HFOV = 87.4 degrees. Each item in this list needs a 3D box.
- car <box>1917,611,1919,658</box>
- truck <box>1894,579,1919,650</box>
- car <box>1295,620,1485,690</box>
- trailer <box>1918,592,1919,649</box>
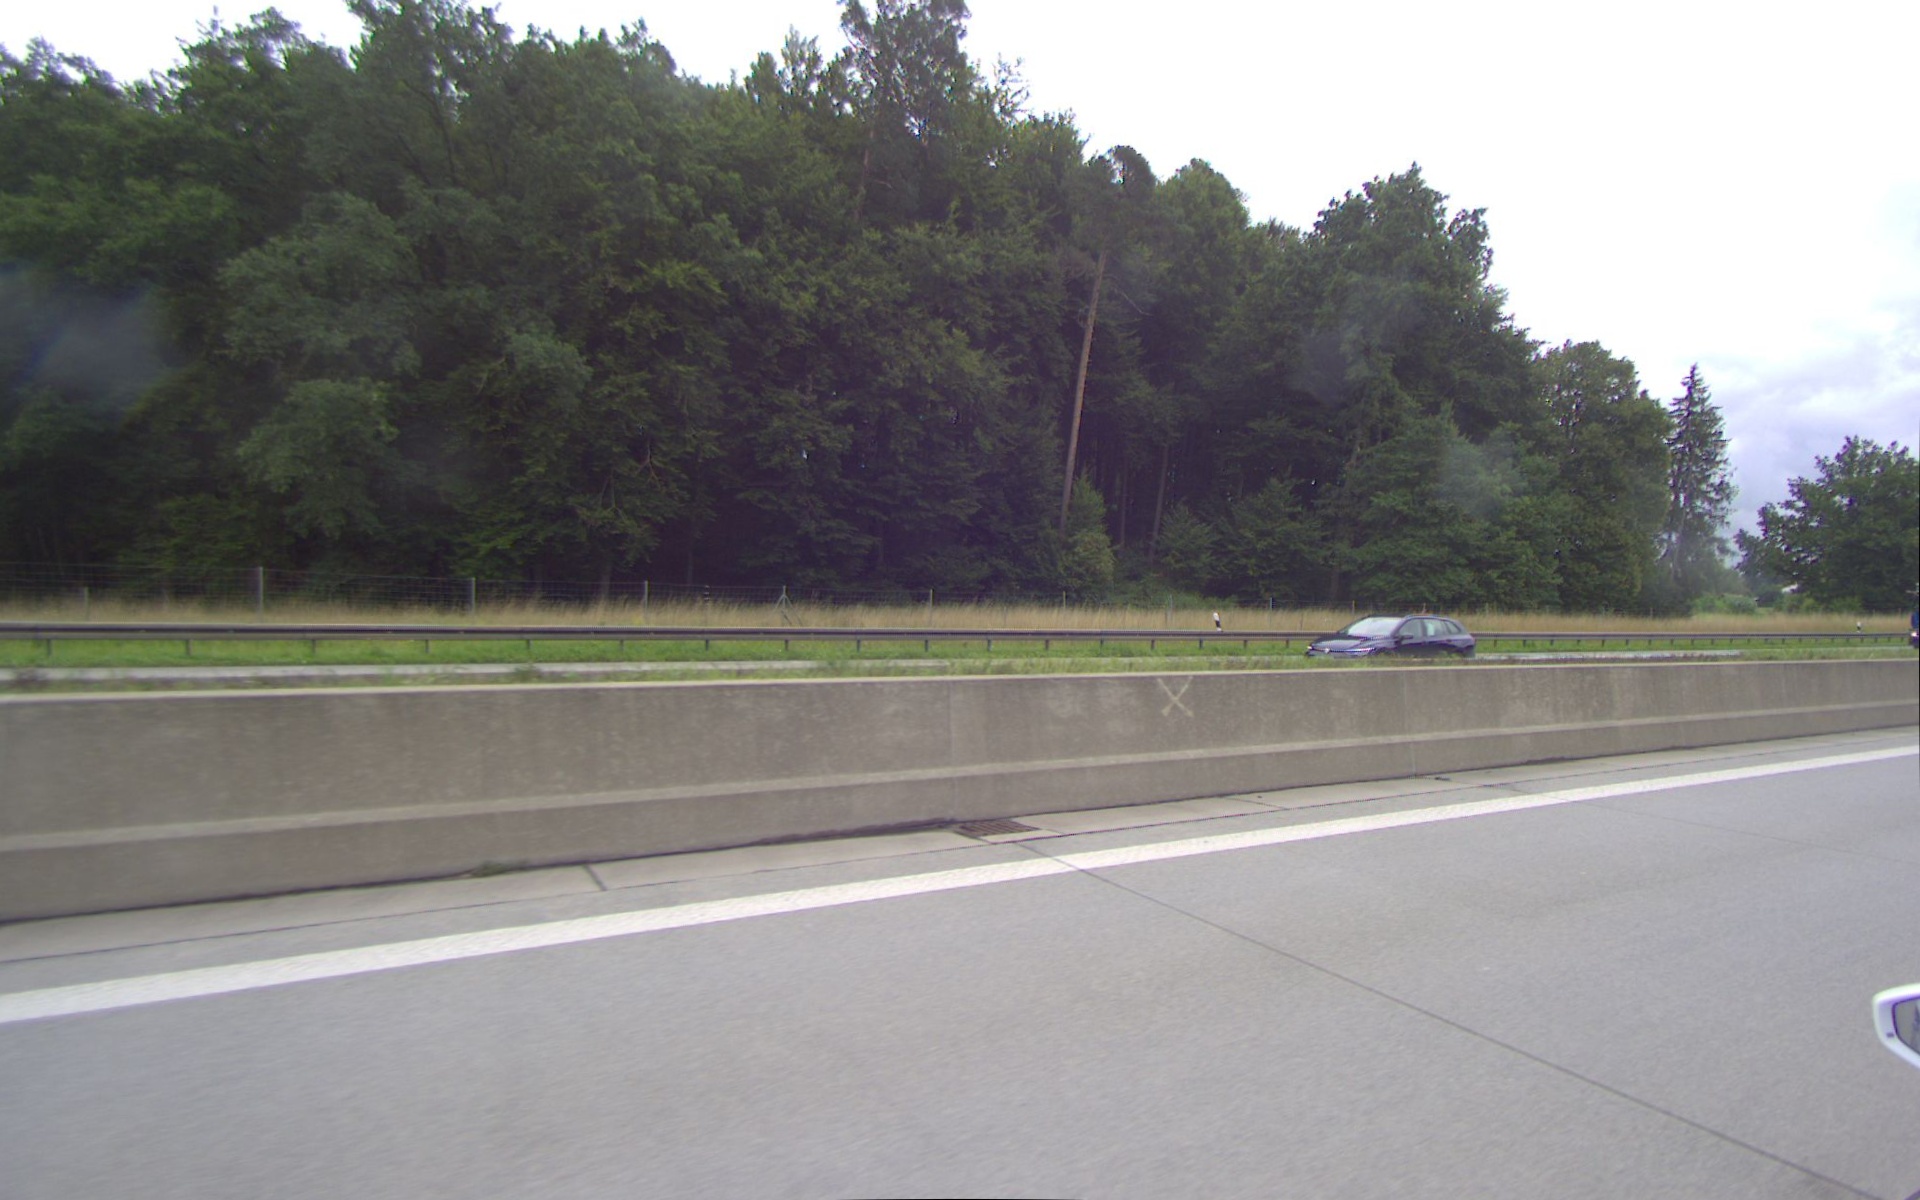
[{"bbox_3d":[40.271,1.439,39.722,5.433,1.825,2.078,2,0,-31],"label":"car"},{"bbox_3d":[51.091,0.830,51.571,6.563,3.564,2.743,2,0,-31],"label":"truck"},{"bbox_3d":[9.884,1.218,22.986,4.389,1.395,1.837,2,0,-33],"label":"car"},{"bbox_3d":[57.004,0.986,55.102,13.723,3.554,2.771,2,0,-31],"label":"trailer"}]
